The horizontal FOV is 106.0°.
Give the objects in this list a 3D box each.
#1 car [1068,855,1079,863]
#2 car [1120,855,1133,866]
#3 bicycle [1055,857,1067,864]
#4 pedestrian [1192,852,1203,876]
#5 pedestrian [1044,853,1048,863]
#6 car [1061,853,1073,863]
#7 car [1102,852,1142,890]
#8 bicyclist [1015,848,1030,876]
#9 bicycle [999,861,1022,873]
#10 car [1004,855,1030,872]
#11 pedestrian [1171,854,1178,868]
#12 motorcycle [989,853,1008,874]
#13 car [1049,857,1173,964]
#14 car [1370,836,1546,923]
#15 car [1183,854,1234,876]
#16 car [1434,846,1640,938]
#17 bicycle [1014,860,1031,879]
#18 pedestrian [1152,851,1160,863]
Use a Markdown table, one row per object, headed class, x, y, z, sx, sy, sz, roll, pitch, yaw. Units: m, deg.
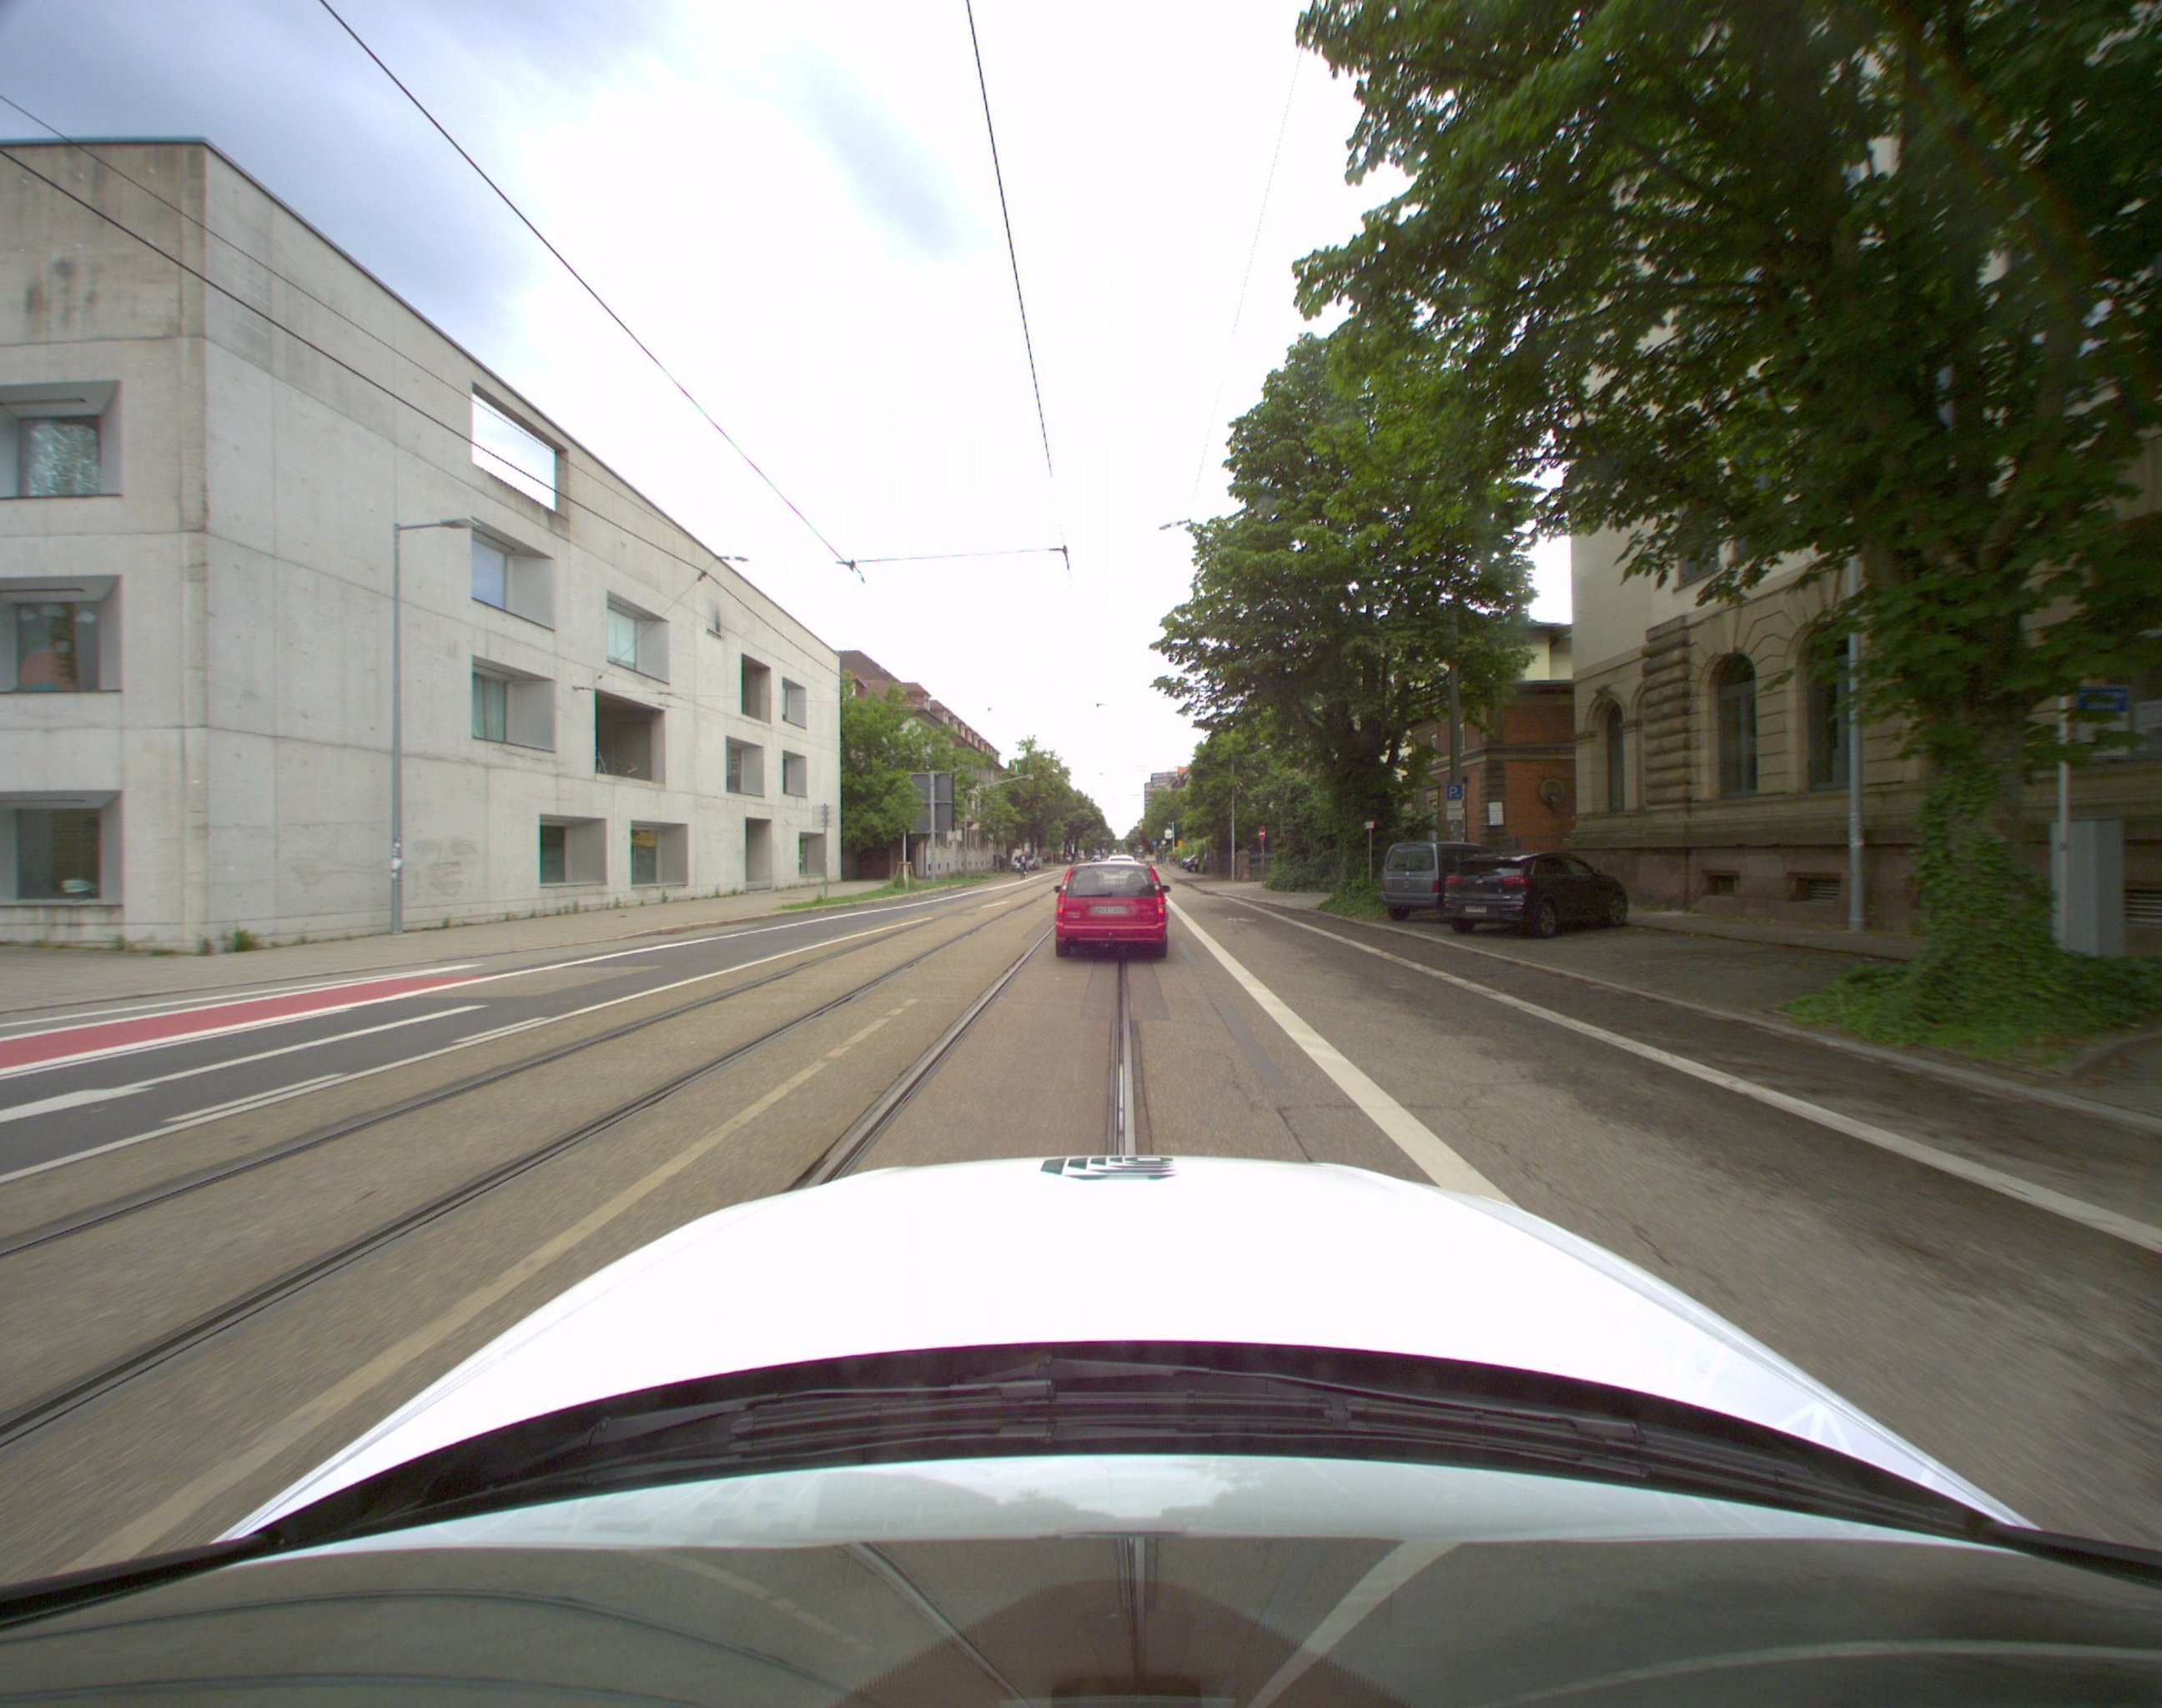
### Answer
| class | x | y | z | sx | sy | sz | roll | pitch | yaw |
| --- | --- | --- | --- | --- | --- | --- | --- | --- | --- |
| car | -1.506 | 0.920 | 158.722 | 1.769 | 1.511 | 4.241 | 0 | 0 | 4 |
| car | 6.372 | 0.906 | 114.915 | 1.735 | 1.606 | 4.000 | 0 | 0 | 1 |
| bicycle | -3.308 | 1.090 | 135.650 | 1.915 | 1.121 | 0.624 | 1 | -1 | 2 |
| pedestrian | 8.331 | 0.736 | 58.277 | 0.621 | 1.671 | 0.960 | -3 | 0 | 2 |
| pedestrian | -5.423 | 0.624 | 127.485 | 0.562 | 1.467 | 0.723 | -1 | -1 | 3 |
| car | -2.345 | 0.633 | 139.891 | 1.890 | 1.655 | 4.227 | 0 | 0 | 2 |
| car | 1.919 | 0.735 | 37.125 | 1.711 | 1.625 | 3.946 | 0 | 0 | 5 |
| bicyclist | -3.921 | 0.541 | 54.517 | 0.788 | 1.783 | 1.148 | -3 | -1 | 3 |
| bicycle | -5.997 | 1.121 | 69.544 | 1.889 | 1.027 | 0.563 | 0 | 0 | -2 |
| car | -5.716 | 0.857 | 72.842 | 1.805 | 1.466 | 4.616 | 0 | 0 | 2 |
| pedestrian | 11.416 | 0.843 | 99.230 | 0.790 | 1.636 | 0.837 | 0 | 0 | 3 |
| motorcycle | -6.541 | 0.720 | 64.582 | 0.827 | 1.643 | 2.487 | 0 | 0 | 11 |
| car | 0.522 | 0.781 | 13.057 | 1.682 | 1.441 | 3.746 | -1 | 0 | 3 |
| car | 8.817 | 0.528 | 19.014 | 3.850 | 1.820 | 1.790 | -1 | 0 | -29 |
| car | 11.107 | 0.951 | 71.312 | 4.261 | 1.809 | 1.826 | -2 | 0 | 4 |
| car | 8.998 | 0.654 | 16.008 | 4.015 | 1.539 | 1.845 | -1 | 0 | -33 |
| bicycle | -3.901 | 1.031 | 54.545 | 0.788 | 1.186 | 2.012 | -3 | 0 | 3 |
| pedestrian | 9.858 | 0.400 | 106.883 | 0.866 | 1.656 | 0.912 | -1 | 0 | 15 |
